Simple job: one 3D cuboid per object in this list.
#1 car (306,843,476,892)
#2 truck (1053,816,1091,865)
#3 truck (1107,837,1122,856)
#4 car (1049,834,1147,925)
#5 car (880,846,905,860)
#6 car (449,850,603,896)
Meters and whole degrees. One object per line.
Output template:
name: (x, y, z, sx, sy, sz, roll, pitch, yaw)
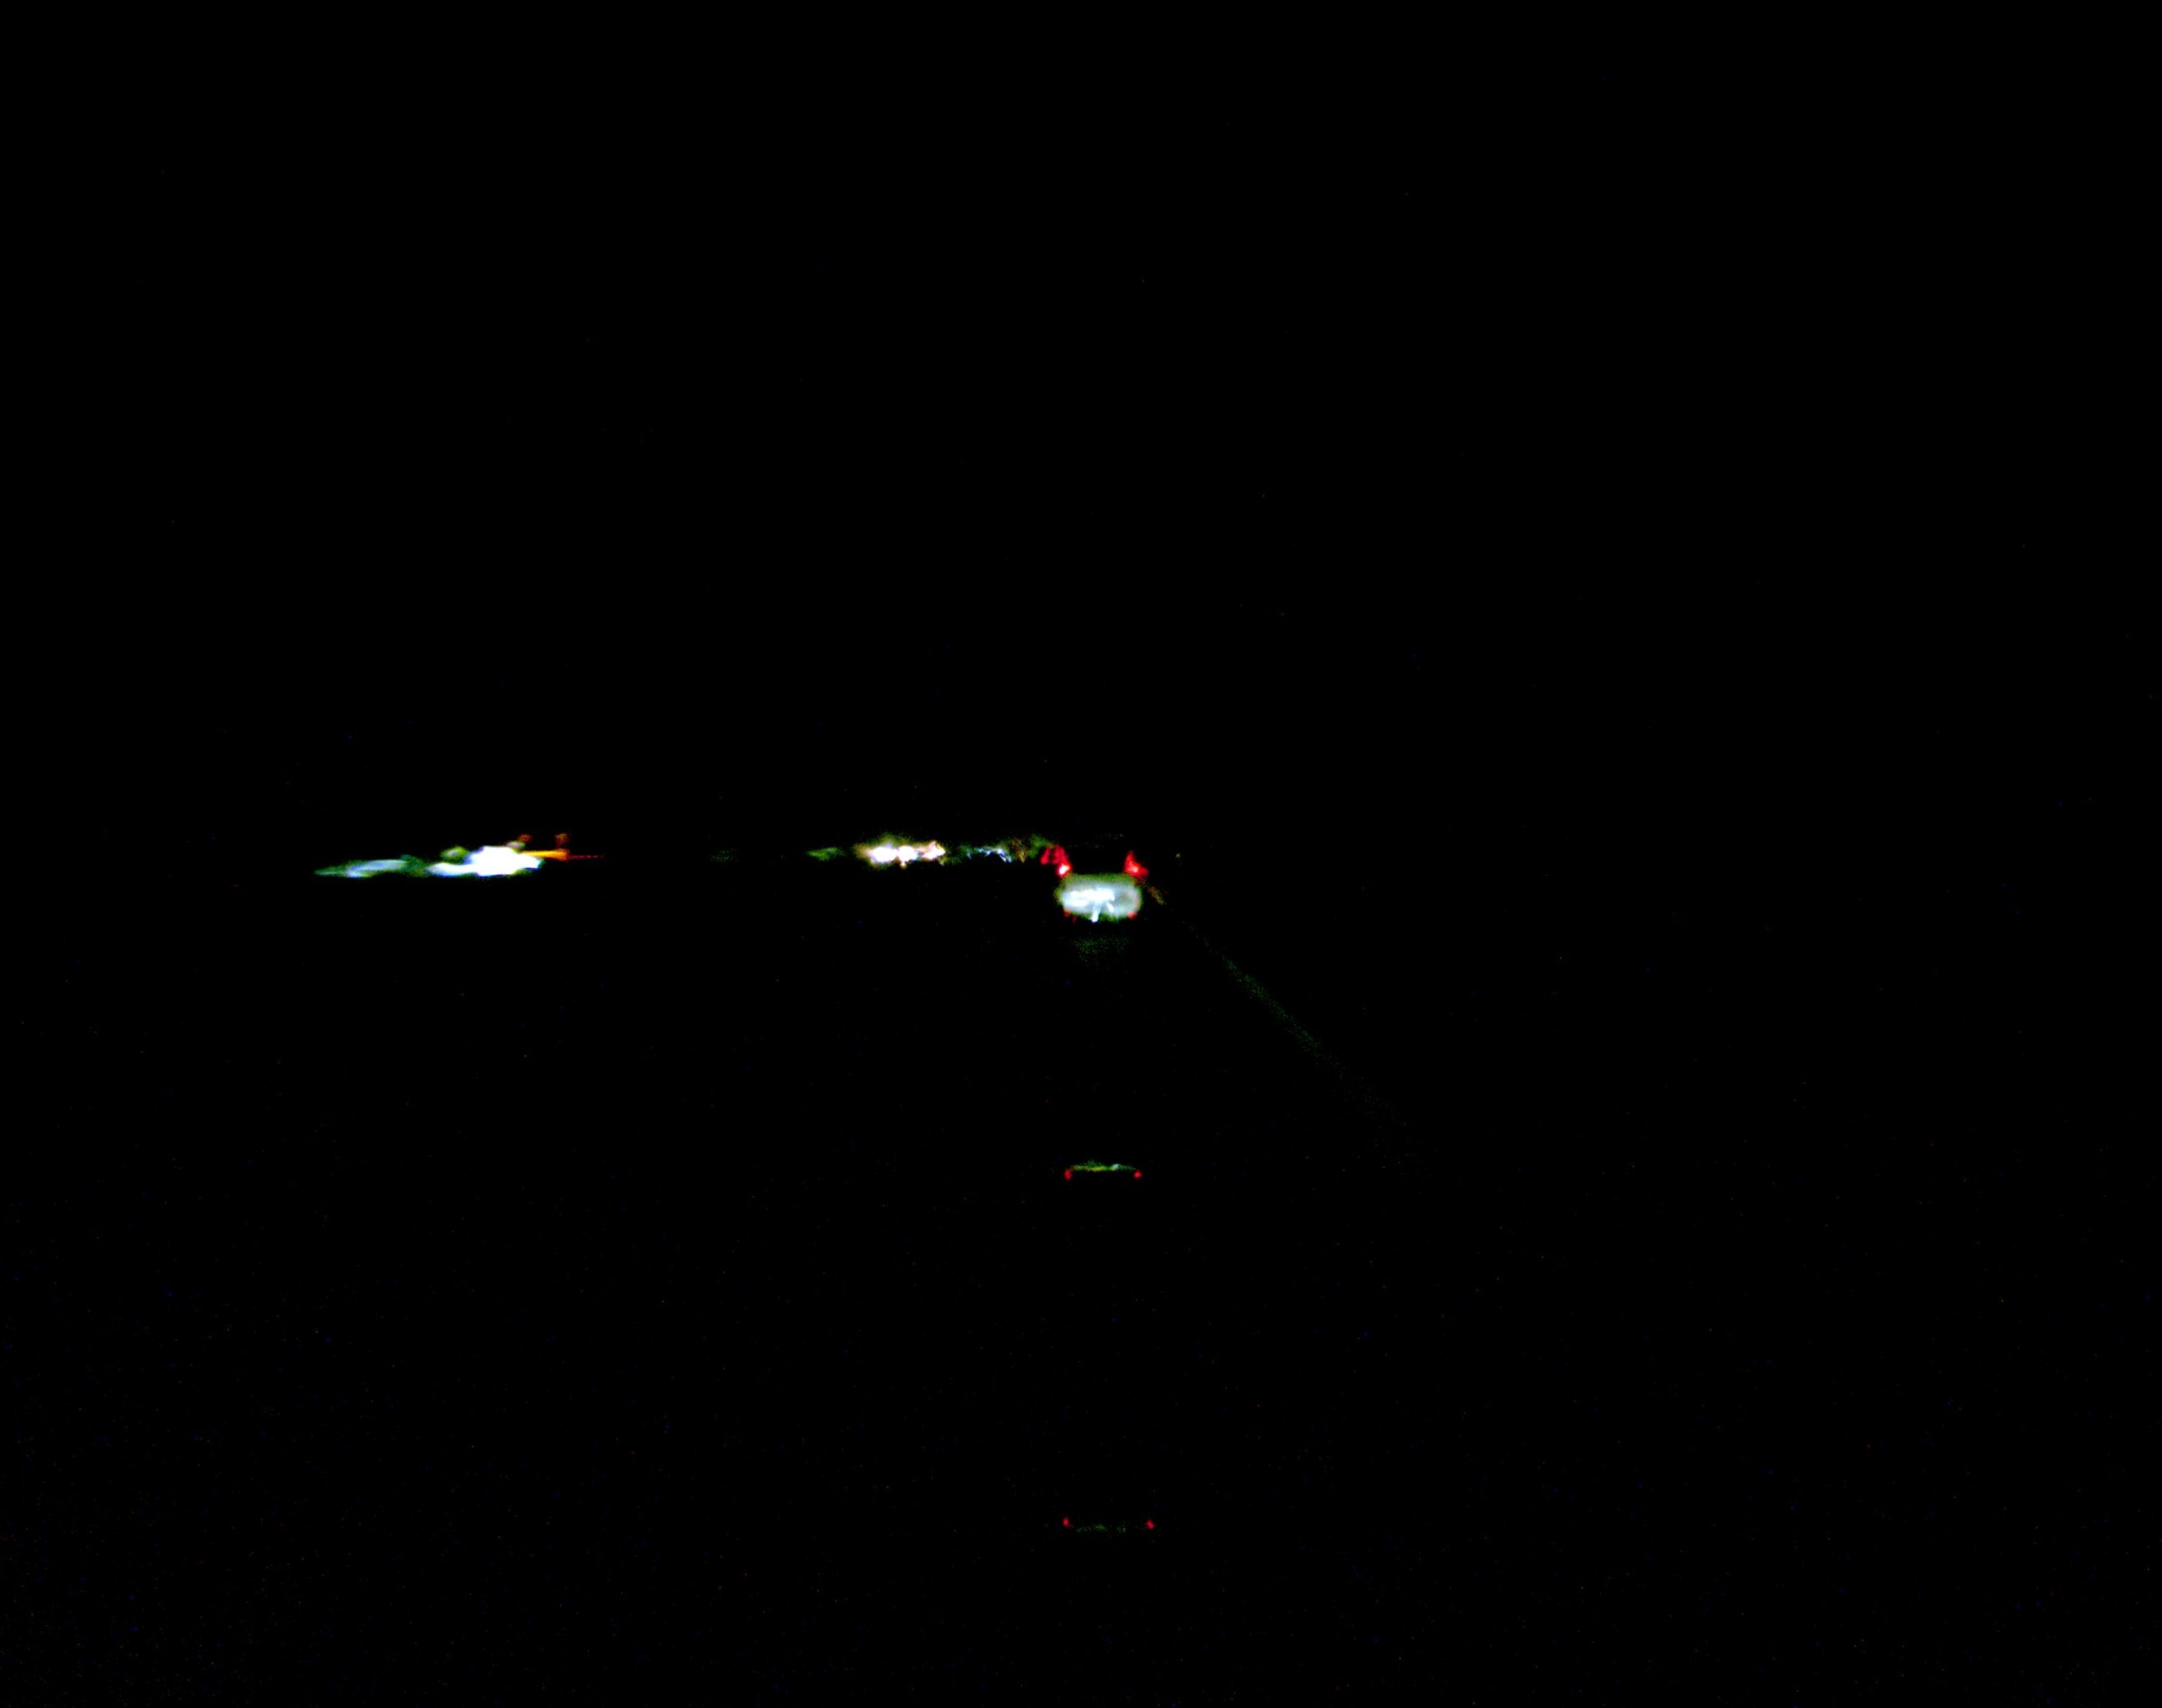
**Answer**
car: (-22.997, 0.428, 27.405, 1.872, 1.464, 4.302, 2, 0, 3)
truck: (-0.906, -1.499, 99.157, 4.152, 5.544, 13.078, 0, 0, 2)
truck: (8.942, -2.047, 219.226, 3.810, 4.915, 11.609, 0, 0, 1)
car: (0.372, 0.511, 18.751, 1.946, 1.792, 5.124, 0, 0, 1)
car: (-21.082, -0.118, 91.191, 1.701, 1.464, 4.003, 2, 1, 3)
car: (-19.499, 0.617, 28.936, 1.964, 1.464, 4.900, 2, 0, 2)
